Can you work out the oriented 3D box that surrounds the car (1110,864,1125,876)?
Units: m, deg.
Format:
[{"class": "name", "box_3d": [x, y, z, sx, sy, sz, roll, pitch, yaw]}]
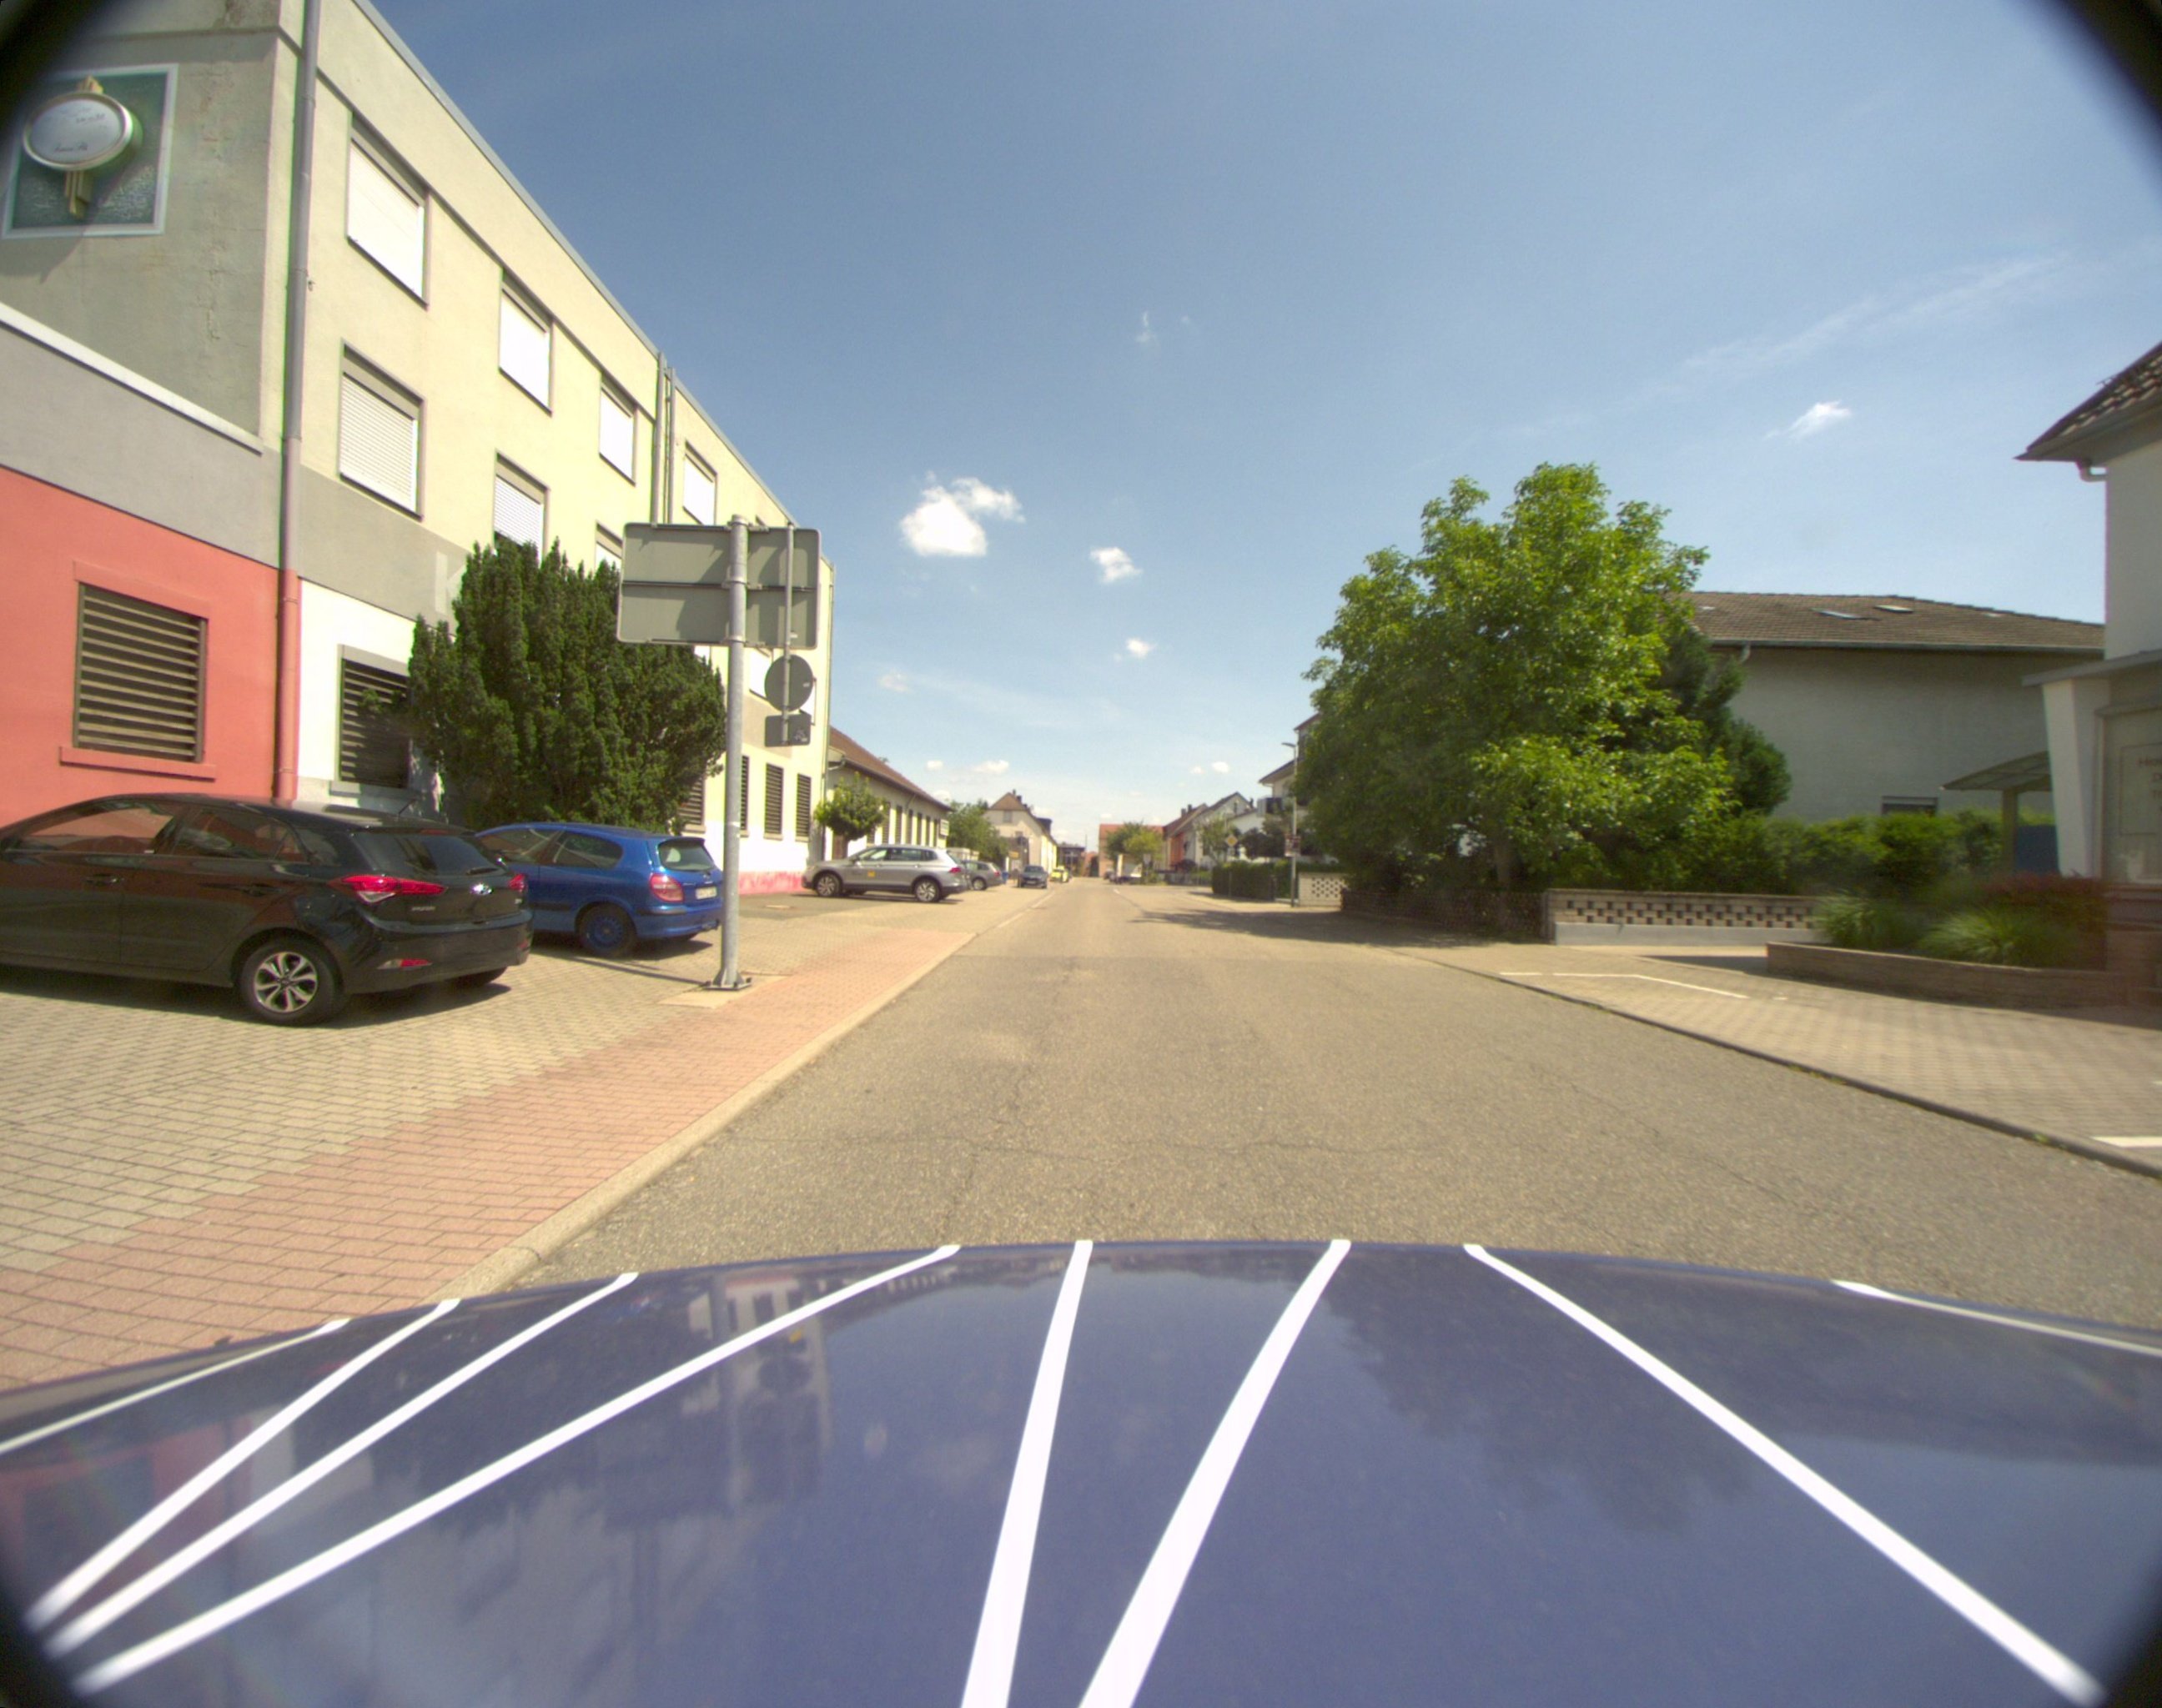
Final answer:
[{"class": "car", "box_3d": [4.934, 2.132, 103.624, 1.720, 1.491, 4.215, 4, -1, -1]}]

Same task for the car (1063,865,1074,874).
[{"class": "car", "box_3d": [-2.086, 2.610, 128.335, 1.720, 1.491, 4.216, 5, -1, 0]}]

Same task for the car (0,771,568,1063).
[{"class": "car", "box_3d": [-6.562, 0.352, 5.784, 3.905, 1.481, 1.809, 8, 1, -2]}]

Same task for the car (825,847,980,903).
[{"class": "car", "box_3d": [-5.707, 0.666, 24.722, 4.512, 1.510, 2.000, 3, -1, 0]}]

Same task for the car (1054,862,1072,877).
[{"class": "car", "box_3d": [-1.971, 1.671, 83.258, 1.720, 1.491, 4.216, 5, -1, 0]}]

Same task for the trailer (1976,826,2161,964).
[{"class": "trailer", "box_3d": [17.221, 0.624, 12.522, 3.177, 2.101, 1.673, 0, 0, -5]}]

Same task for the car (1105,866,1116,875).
[{"class": "car", "box_3d": [5.220, 2.871, 134.224, 1.720, 1.491, 4.215, 4, -1, -1]}]

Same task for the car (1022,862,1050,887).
[{"class": "car", "box_3d": [-2.858, 1.311, 48.843, 1.632, 1.480, 4.140, 2, -1, -1]}]

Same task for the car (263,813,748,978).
[{"class": "car", "box_3d": [-6.573, 0.425, 9.052, 4.333, 1.431, 1.779, 5, 2, -1]}]

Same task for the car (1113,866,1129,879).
[{"class": "car", "box_3d": [5.151, 2.356, 97.400, 1.720, 1.491, 4.215, 4, -1, -1]}]

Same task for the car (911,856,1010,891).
[{"class": "car", "box_3d": [-5.974, 0.955, 37.975, 4.537, 1.445, 1.918, 3, -1, 0]}]

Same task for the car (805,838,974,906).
[{"class": "car", "box_3d": [-5.541, 0.530, 22.448, 4.465, 1.687, 1.923, 3, -1, -2]}]

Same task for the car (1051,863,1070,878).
[{"class": "car", "box_3d": [-2.075, 1.666, 78.605, 1.720, 1.389, 4.216, 5, -1, 0]}]

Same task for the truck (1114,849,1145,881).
[{"class": "truck", "box_3d": [5.283, 1.233, 83.483, 2.444, 3.227, 7.036, 5, -1, -2]}]
